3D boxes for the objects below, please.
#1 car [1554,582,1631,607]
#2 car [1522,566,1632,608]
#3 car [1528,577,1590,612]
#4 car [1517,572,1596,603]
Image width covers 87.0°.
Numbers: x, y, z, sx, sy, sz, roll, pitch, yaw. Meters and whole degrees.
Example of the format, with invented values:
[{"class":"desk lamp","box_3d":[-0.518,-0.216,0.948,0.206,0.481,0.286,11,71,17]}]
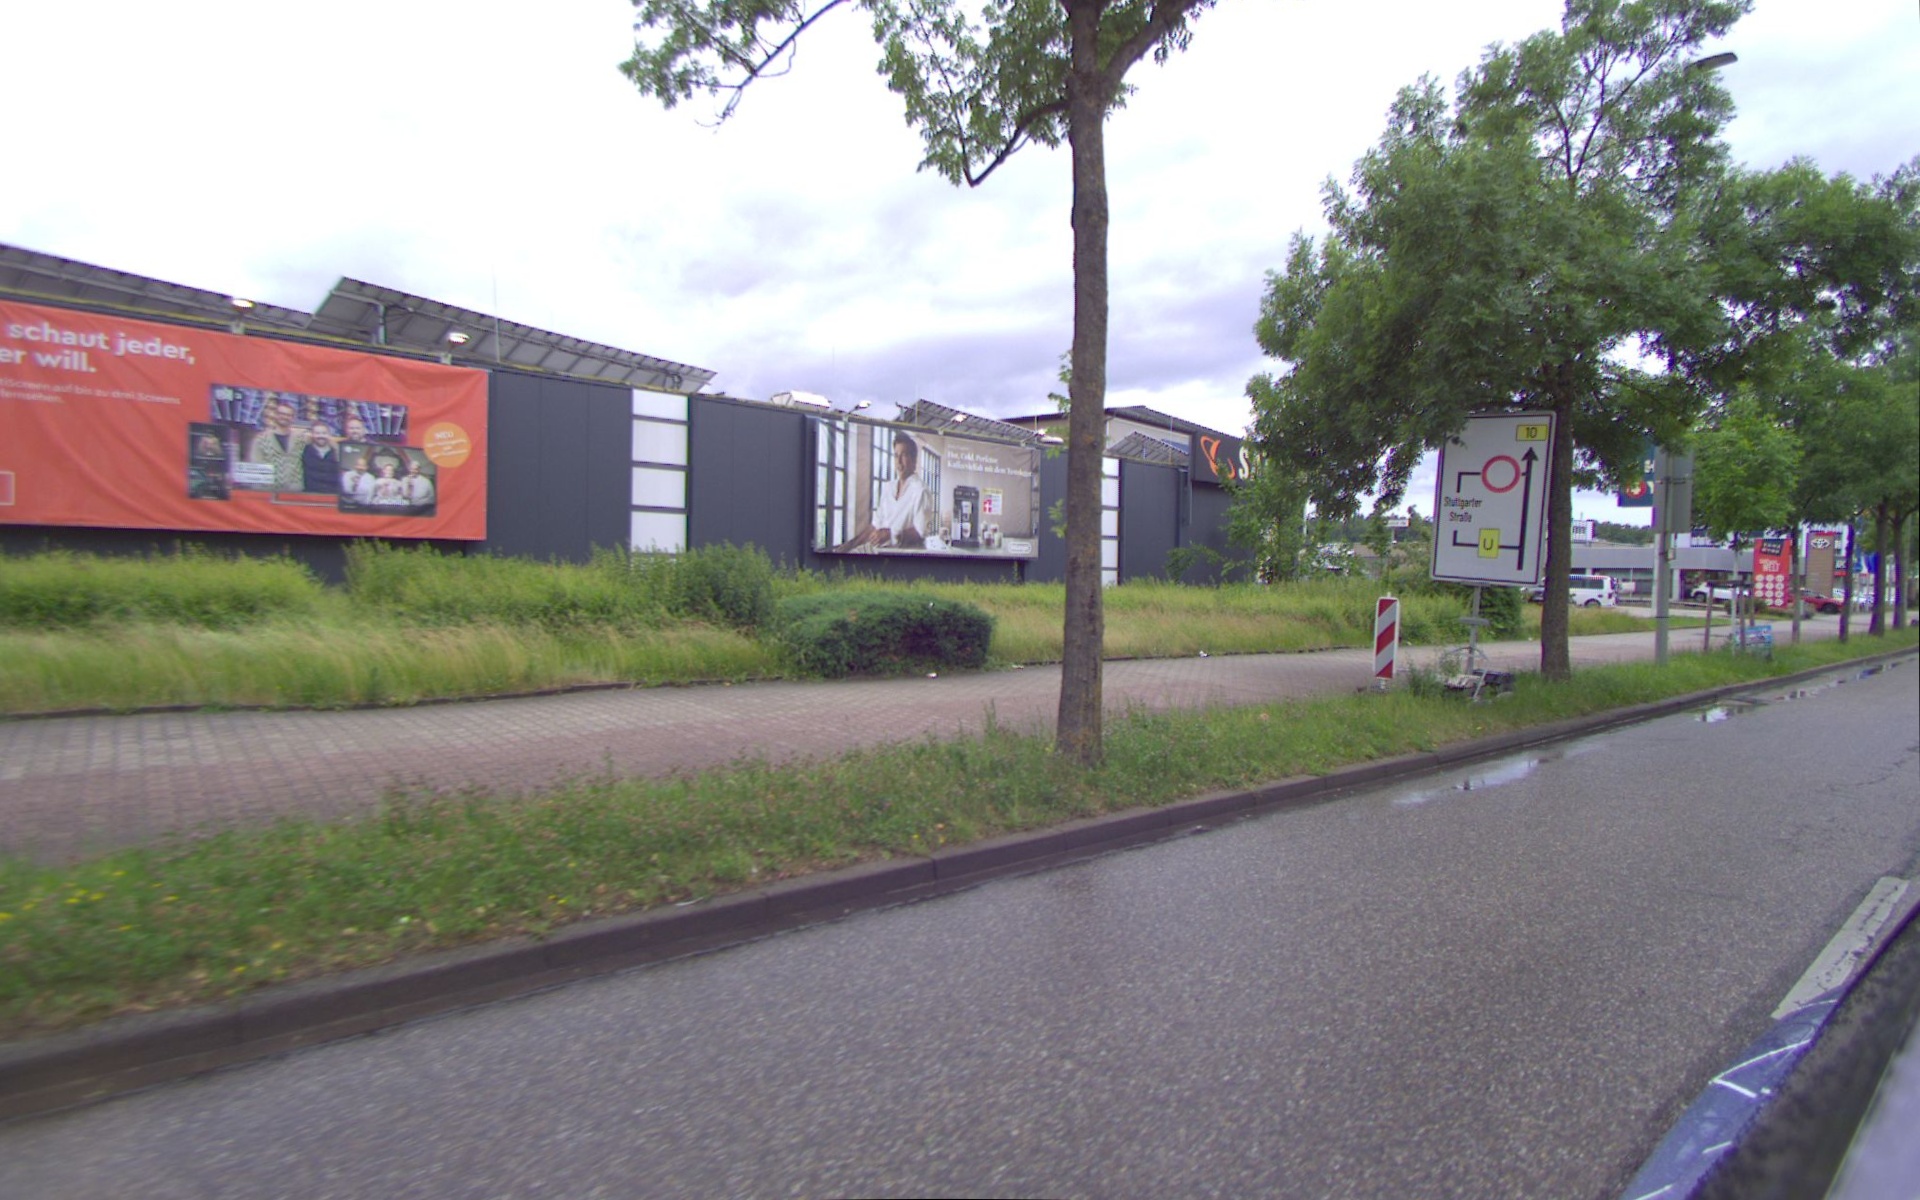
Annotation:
[{"class":"car","box_3d":[40.375,-0.376,64.654,3.980,1.415,1.653,4,2,38]},{"class":"car","box_3d":[33.792,-0.746,55.491,4.939,2.038,1.973,4,3,38]},{"class":"car","box_3d":[26.845,-0.263,45.294,1.747,1.430,4.078,4,3,39]},{"class":"car","box_3d":[36.659,-0.755,62.217,3.982,1.820,1.796,0,1,41]}]
